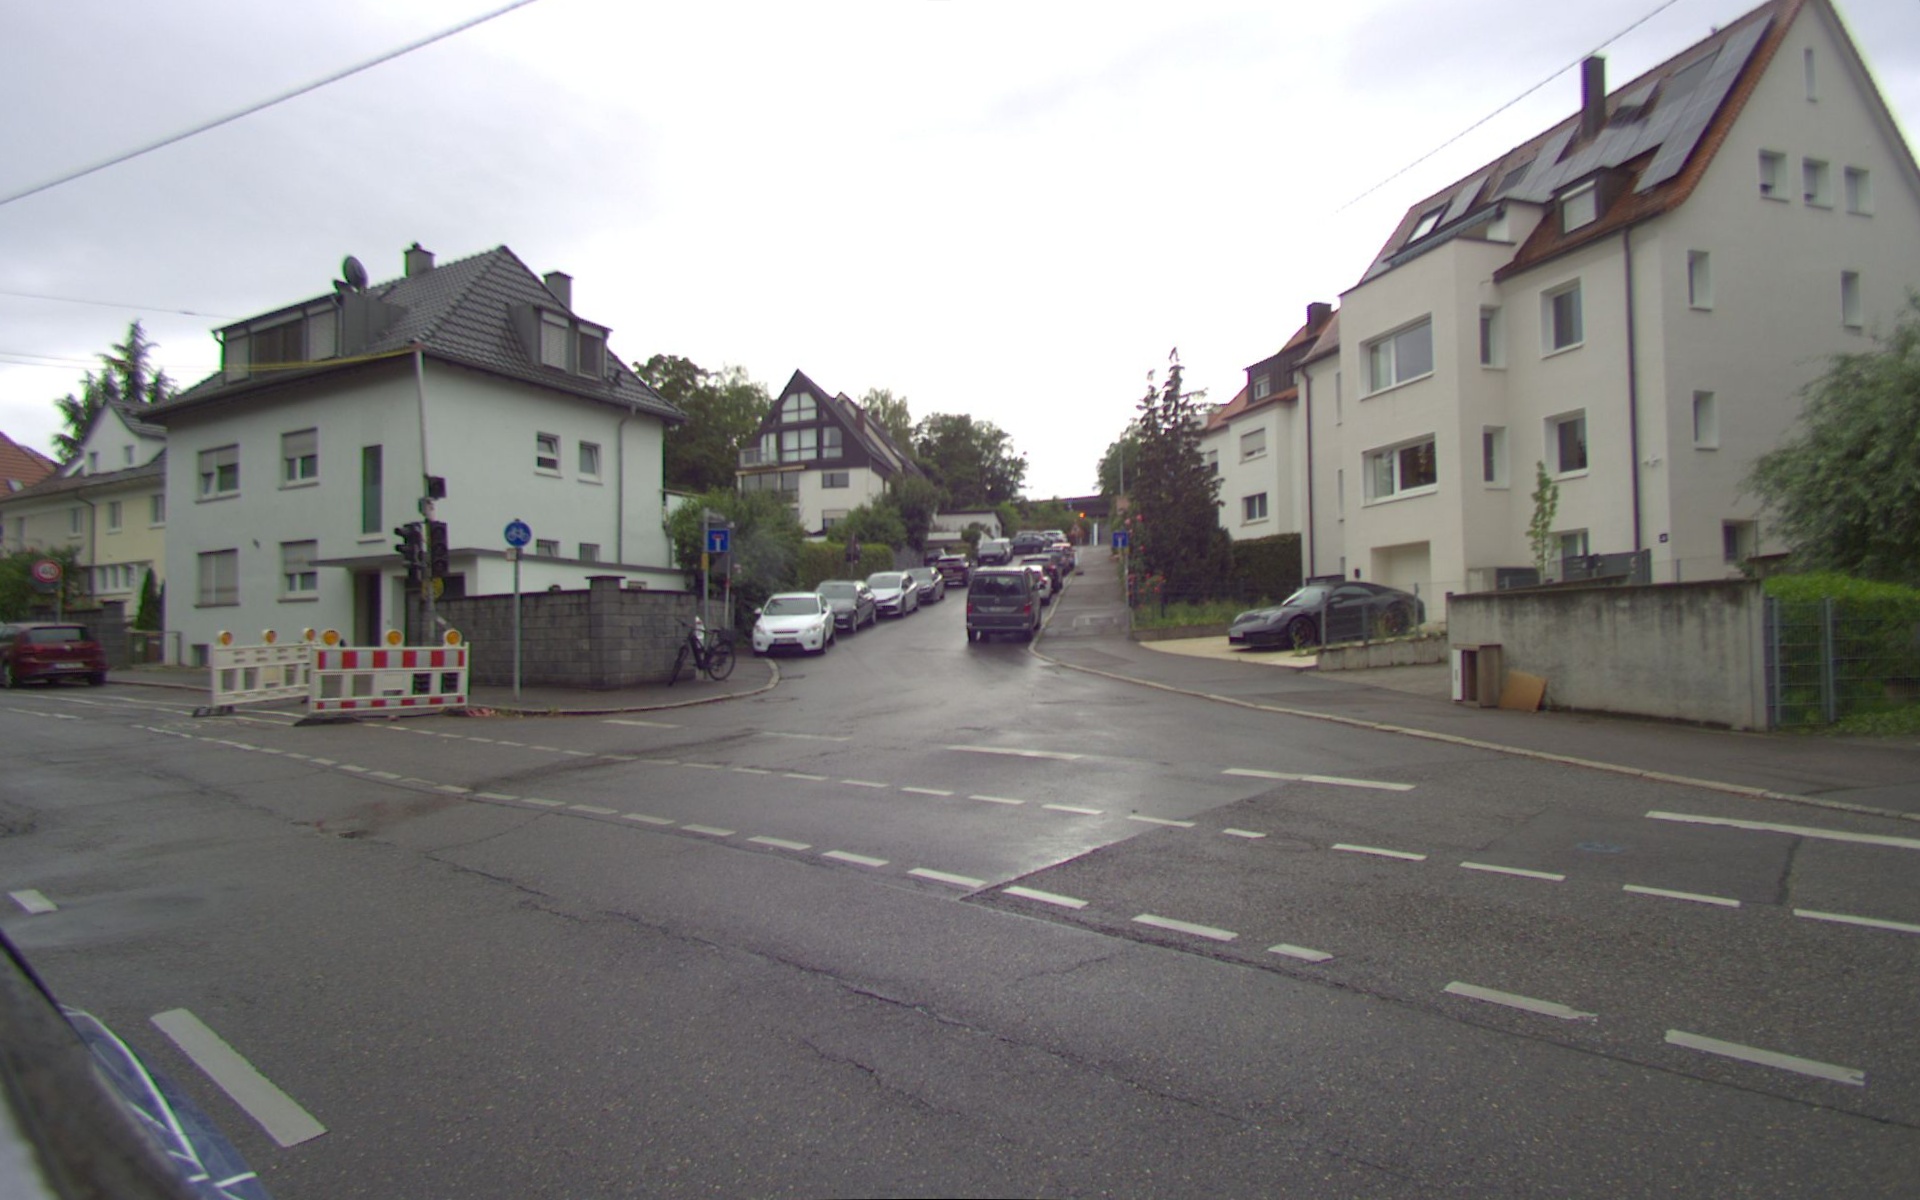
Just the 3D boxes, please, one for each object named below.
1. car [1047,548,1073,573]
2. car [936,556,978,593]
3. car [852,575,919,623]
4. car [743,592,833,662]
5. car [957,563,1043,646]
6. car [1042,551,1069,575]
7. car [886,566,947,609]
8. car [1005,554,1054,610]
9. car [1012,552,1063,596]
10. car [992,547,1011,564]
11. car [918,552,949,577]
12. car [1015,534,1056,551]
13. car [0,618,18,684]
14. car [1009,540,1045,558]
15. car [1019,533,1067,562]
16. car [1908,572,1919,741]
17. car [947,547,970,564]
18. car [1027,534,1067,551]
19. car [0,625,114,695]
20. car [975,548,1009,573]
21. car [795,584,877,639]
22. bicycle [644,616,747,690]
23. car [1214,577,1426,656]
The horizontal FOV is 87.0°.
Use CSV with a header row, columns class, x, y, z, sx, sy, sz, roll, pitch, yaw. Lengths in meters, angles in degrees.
class,x,y,z,sx,sy,sz,roll,pitch,yaw
car,6.239,-2.443,62.840,1.488,1.373,3.465,-1,0,8
car,-0.113,-1.359,52.457,1.623,1.637,3.992,-1,5,8
car,-2.657,-0.082,37.079,1.738,1.481,3.940,-1,4,6
car,-4.353,0.626,26.148,1.827,1.473,4.124,-1,3,-3
car,1.243,0.051,29.317,1.978,2.028,4.482,-1,4,9
car,5.504,-2.139,58.103,1.274,1.325,2.984,-1,3,10
car,-1.805,-0.550,42.951,1.903,1.448,4.100,-1,5,7
car,2.821,-0.752,40.316,1.686,1.843,4.194,-1,6,7
car,3.522,-1.190,45.368,1.823,1.699,4.039,-1,5,11
car,3.059,-3.320,74.703,1.292,1.206,2.980,-1,3,5
car,-1.826,-2.413,69.785,1.793,1.566,4.009,-1,0,3
car,7.392,-5.581,98.781,3.922,1.528,1.748,-1,0,6
car,-26.152,1.320,25.766,4.131,1.653,1.782,-1,-1,25
car,5.554,-4.192,83.646,2.914,1.328,1.282,-1,0,4
car,7.204,-4.555,87.635,3.954,2.028,1.995,-5,-1,8
car,10.606,0.421,8.540,3.934,1.497,1.780,-2,-1,-12
car,-0.081,-3.253,74.013,1.559,1.220,3.650,-1,3,2
car,8.940,-5.891,103.906,3.782,1.529,1.664,-1,-1,15
car,-21.467,1.336,23.374,3.833,1.443,1.768,-1,-1,30
car,2.197,-2.665,68.878,1.770,1.531,4.016,-1,0,9
car,-3.826,0.321,31.810,1.702,1.397,3.900,-1,4,6
bicycle,-4.785,0.932,18.449,0.508,1.249,1.984,1,0,32
car,7.708,0.333,21.764,3.942,1.290,1.613,-5,1,-13
